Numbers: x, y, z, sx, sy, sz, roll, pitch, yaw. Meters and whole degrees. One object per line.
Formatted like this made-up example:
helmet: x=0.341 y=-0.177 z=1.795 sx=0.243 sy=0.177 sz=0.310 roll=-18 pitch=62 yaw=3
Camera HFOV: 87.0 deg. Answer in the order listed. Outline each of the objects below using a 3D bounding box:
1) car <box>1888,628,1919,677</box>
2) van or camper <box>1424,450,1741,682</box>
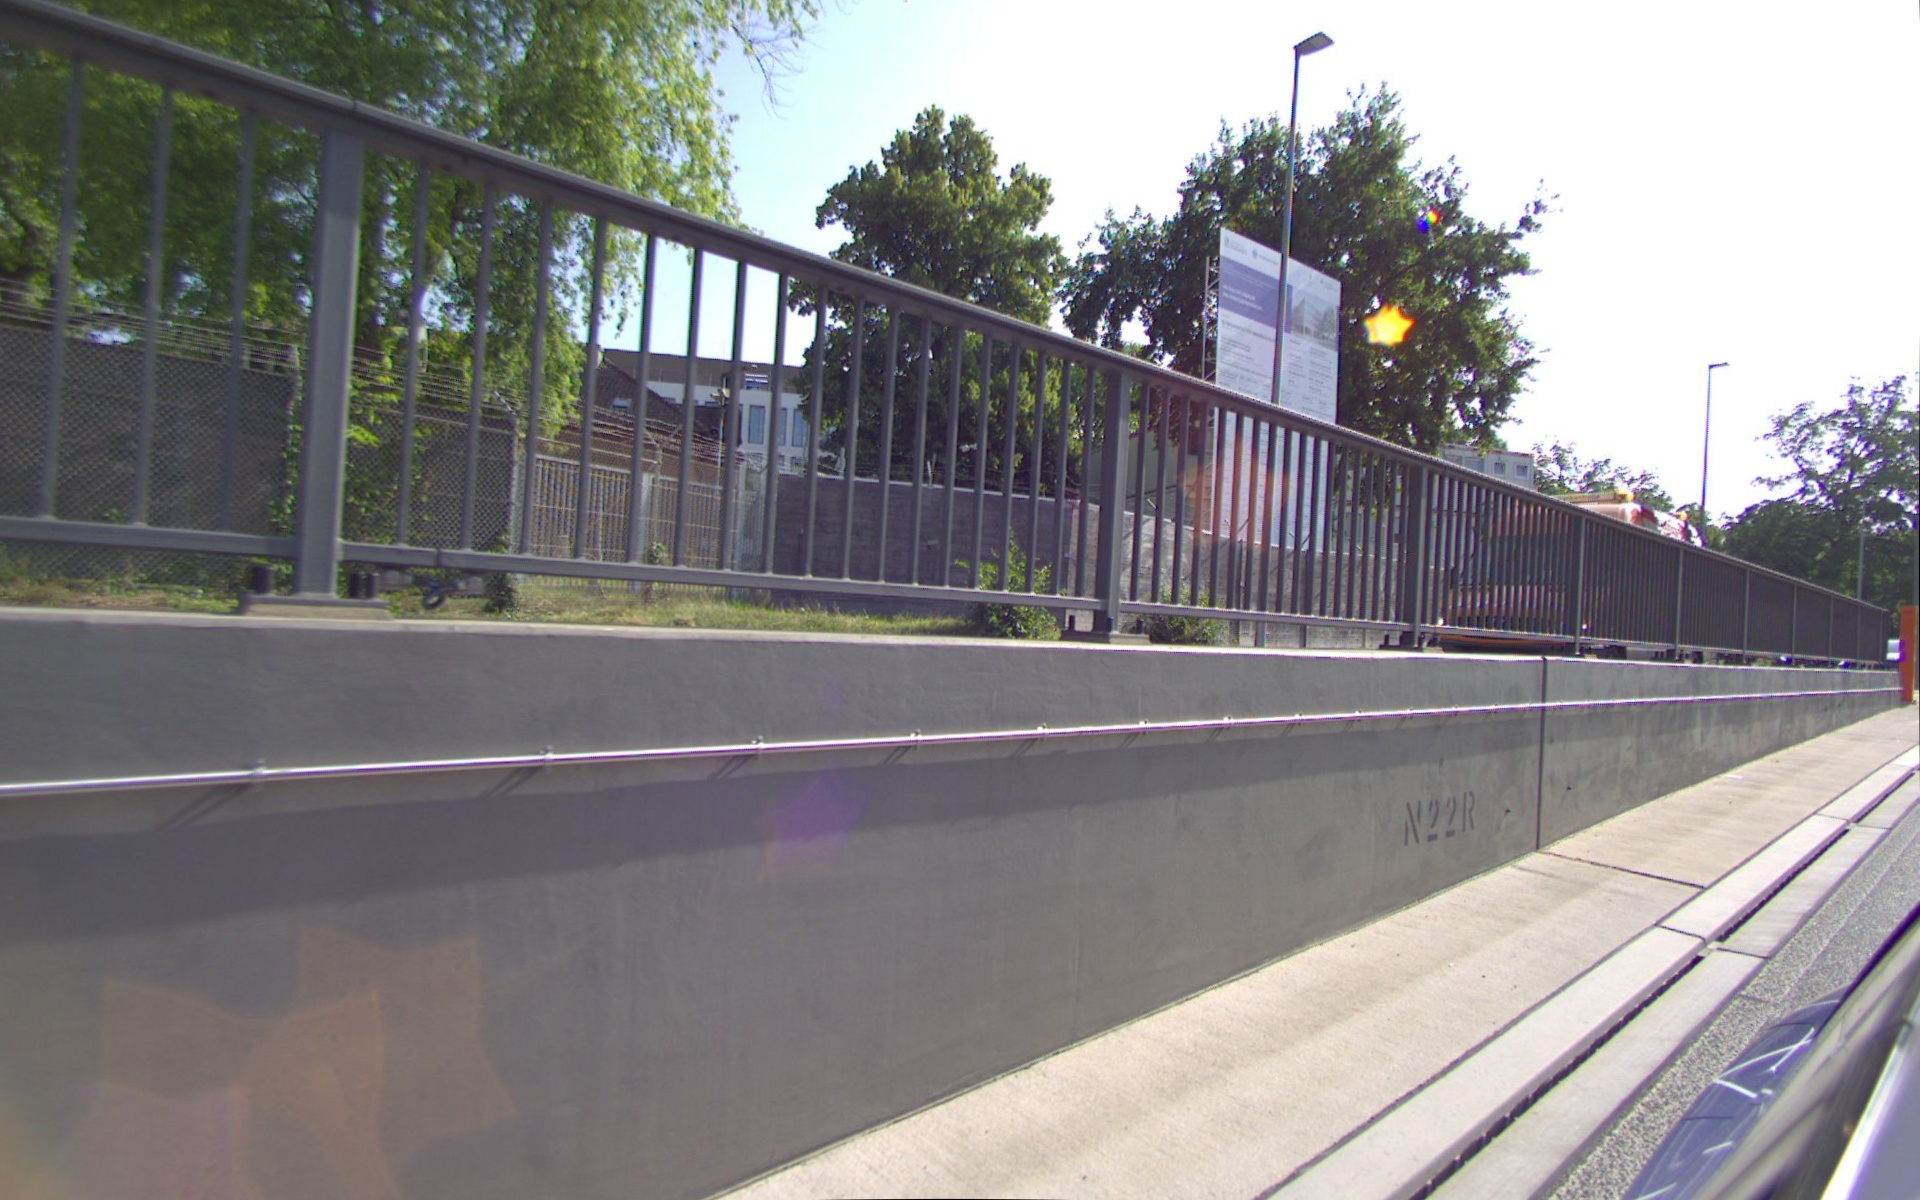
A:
car: x=33.309 y=1.836 z=34.498 sx=4.173 sy=1.591 sz=1.896 roll=4 pitch=-2 yaw=-39
van or camper: x=8.561 y=-0.248 z=13.622 sx=5.954 sy=2.504 sz=1.989 roll=3 pitch=-3 yaw=-41
